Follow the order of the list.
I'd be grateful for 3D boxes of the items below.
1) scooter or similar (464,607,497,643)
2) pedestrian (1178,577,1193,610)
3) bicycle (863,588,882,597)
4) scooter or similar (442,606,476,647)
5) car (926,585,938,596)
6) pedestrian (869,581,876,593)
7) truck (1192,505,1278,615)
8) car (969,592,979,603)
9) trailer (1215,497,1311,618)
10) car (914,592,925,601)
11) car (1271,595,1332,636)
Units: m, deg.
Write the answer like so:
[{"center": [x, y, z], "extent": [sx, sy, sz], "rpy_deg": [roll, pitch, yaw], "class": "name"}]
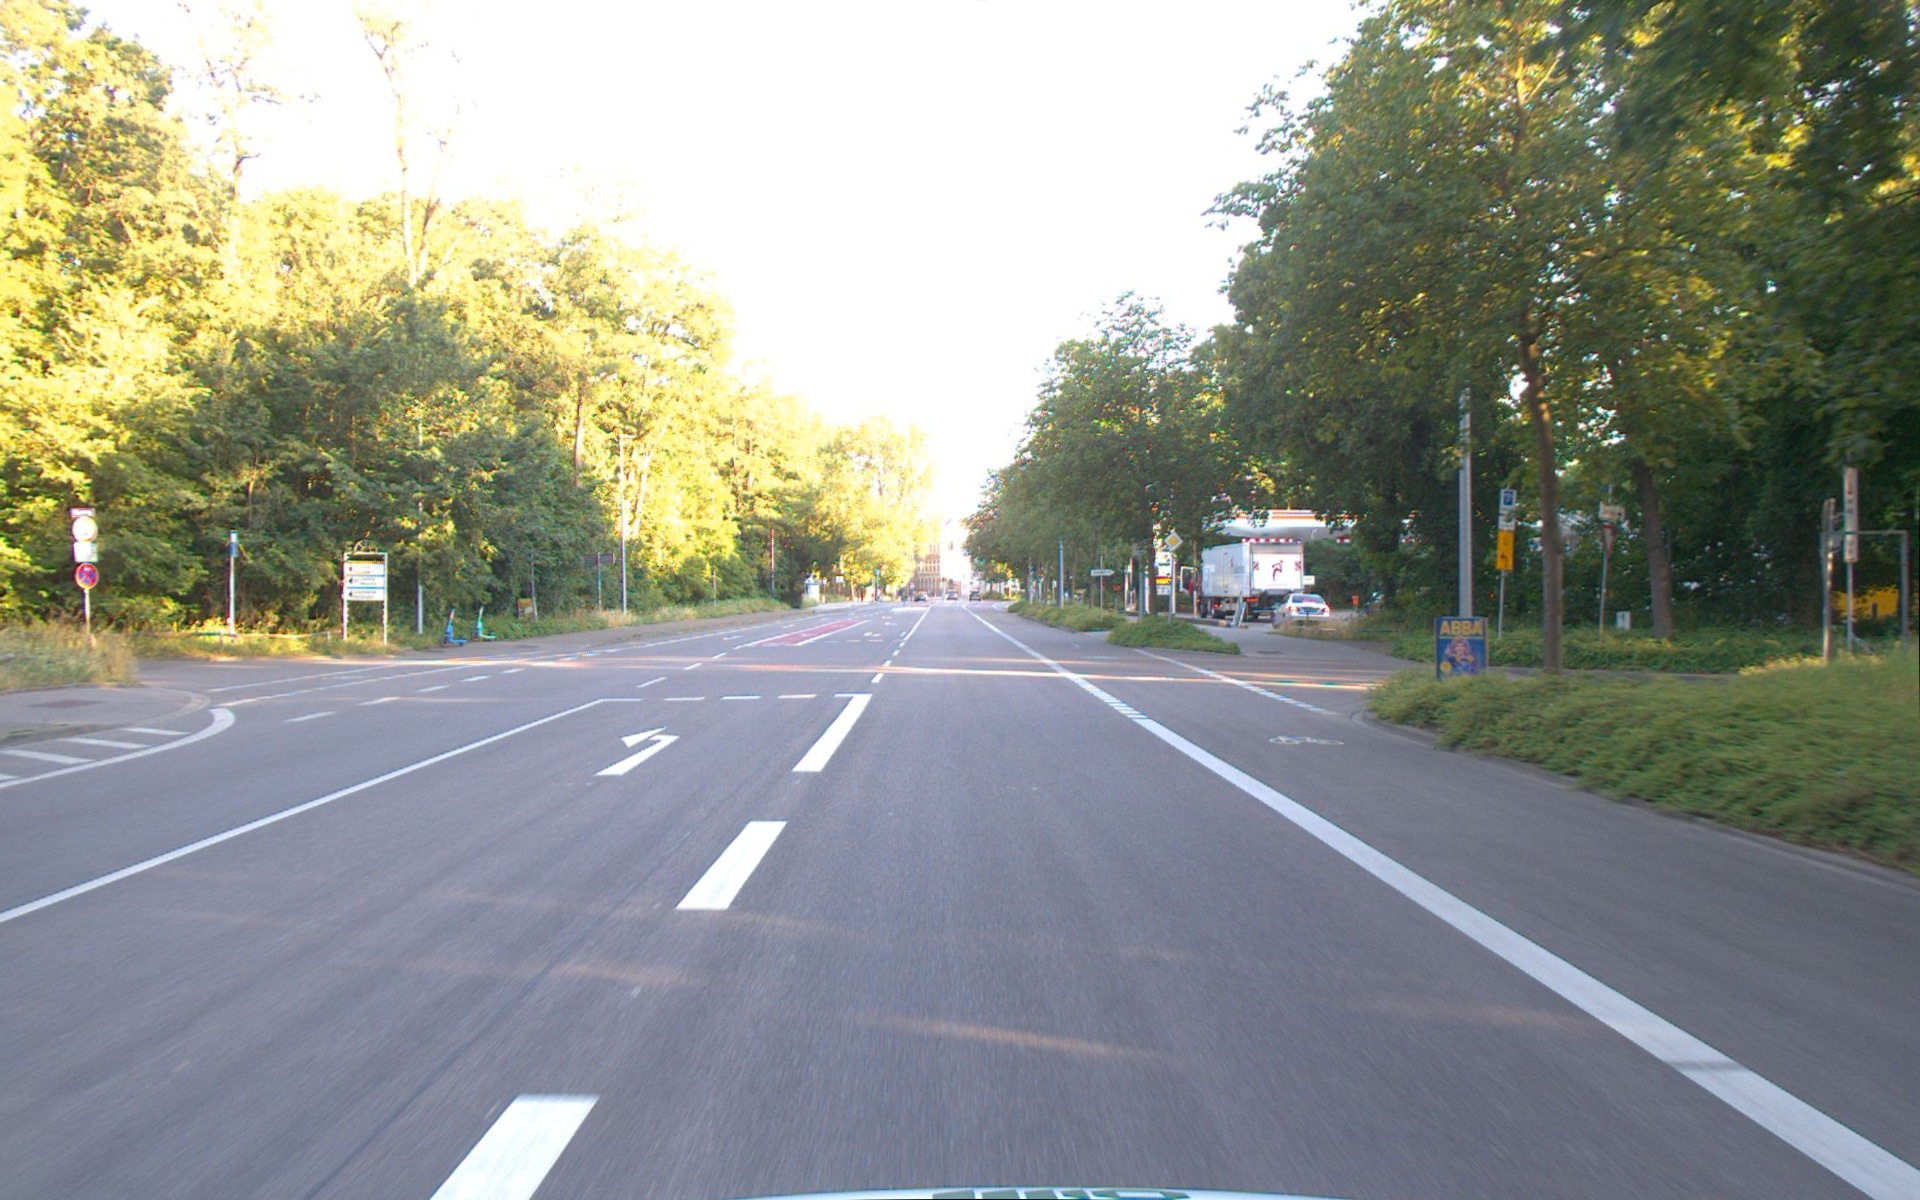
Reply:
[{"center": [-14.581, 0.753, 50.324], "extent": [0.886, 1.087, 0.492], "rpy_deg": [0, 0, -26], "class": "scooter or similar"}, {"center": [12.598, -0.342, 92.456], "extent": [0.741, 1.829, 0.707], "rpy_deg": [1, 0, 3], "class": "pedestrian"}, {"center": [-11.651, -1.025, 219.163], "extent": [2.410, 1.216, 0.757], "rpy_deg": [0, 0, 9], "class": "bicycle"}, {"center": [-14.250, 0.747, 47.013], "extent": [0.355, 1.129, 0.875], "rpy_deg": [0, 0, 41], "class": "scooter or similar"}, {"center": [-3.753, -1.256, 219.513], "extent": [1.462, 1.512, 3.491], "rpy_deg": [0, 0, 0], "class": "car"}, {"center": [-11.577, -1.759, 219.160], "extent": [0.774, 1.608, 0.746], "rpy_deg": [1, 0, 9], "class": "pedestrian"}, {"center": [14.671, -2.088, 88.845], "extent": [2.971, 5.550, 8.408], "rpy_deg": [2, 1, -1], "class": "truck"}, {"center": [2.063, -0.388, 246.964], "extent": [1.462, 1.512, 3.490], "rpy_deg": [0, 0, 0], "class": "car"}, {"center": [14.822, -2.026, 81.596], "extent": [2.959, 5.557, 7.933], "rpy_deg": [2, 0, -1], "class": "trailer"}, {"center": [-5.766, -0.508, 236.253], "extent": [1.462, 1.314, 3.490], "rpy_deg": [0, 0, 0], "class": "car"}, {"center": [14.207, 0.634, 69.047], "extent": [1.733, 1.611, 4.821], "rpy_deg": [1, 0, 3], "class": "car"}]
